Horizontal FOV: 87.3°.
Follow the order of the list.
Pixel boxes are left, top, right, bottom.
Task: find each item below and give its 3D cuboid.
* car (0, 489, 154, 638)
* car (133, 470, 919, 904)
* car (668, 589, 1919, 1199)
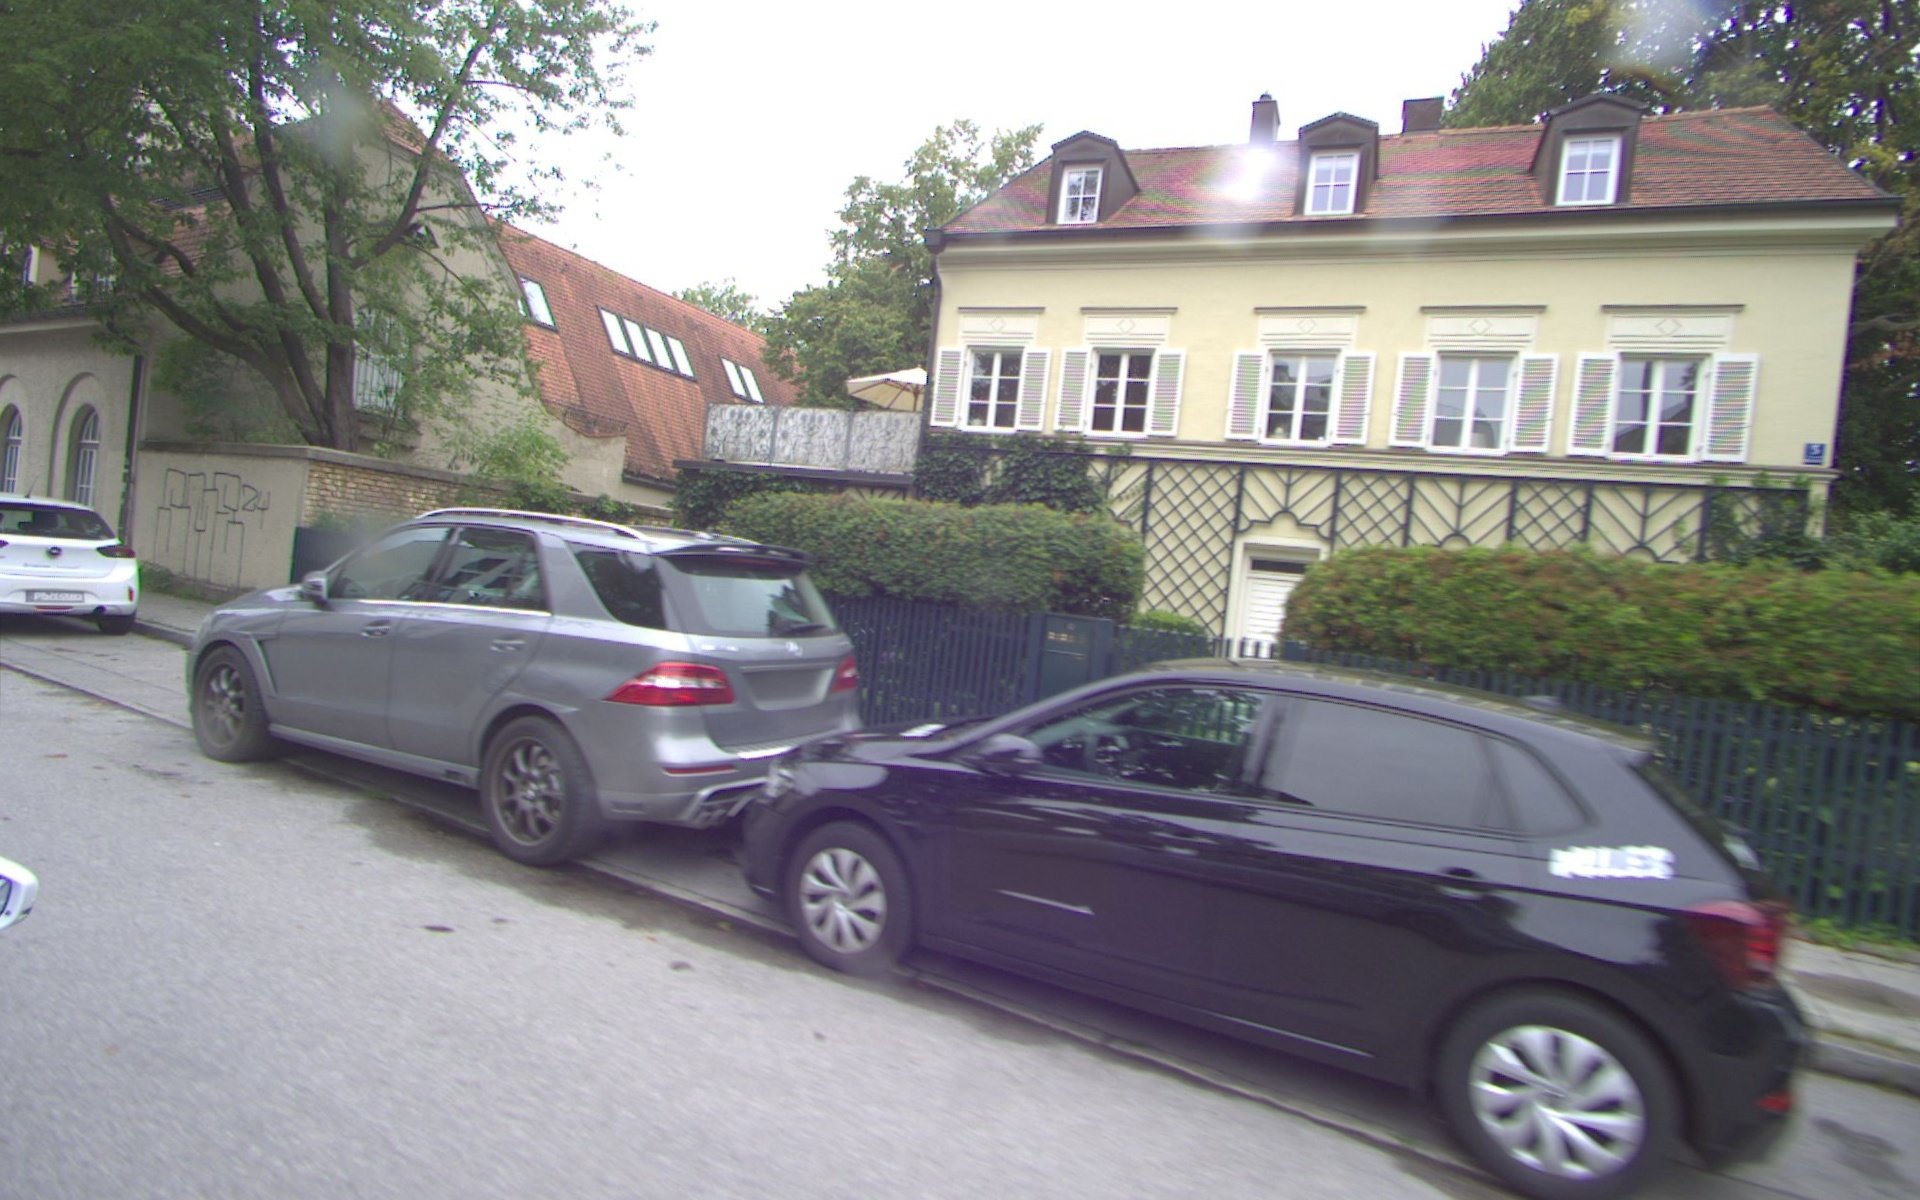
[{"bbox_3d":[-10.977,-0.528,11.296,3.933,1.460,1.687,6,1,31],"label":"car"},{"bbox_3d":[-2.902,0.283,6.488,4.799,1.734,1.996,7,2,28],"label":"car"},{"bbox_3d":[1.039,0.922,4.272,4.148,1.446,1.879,7,2,28],"label":"car"}]
